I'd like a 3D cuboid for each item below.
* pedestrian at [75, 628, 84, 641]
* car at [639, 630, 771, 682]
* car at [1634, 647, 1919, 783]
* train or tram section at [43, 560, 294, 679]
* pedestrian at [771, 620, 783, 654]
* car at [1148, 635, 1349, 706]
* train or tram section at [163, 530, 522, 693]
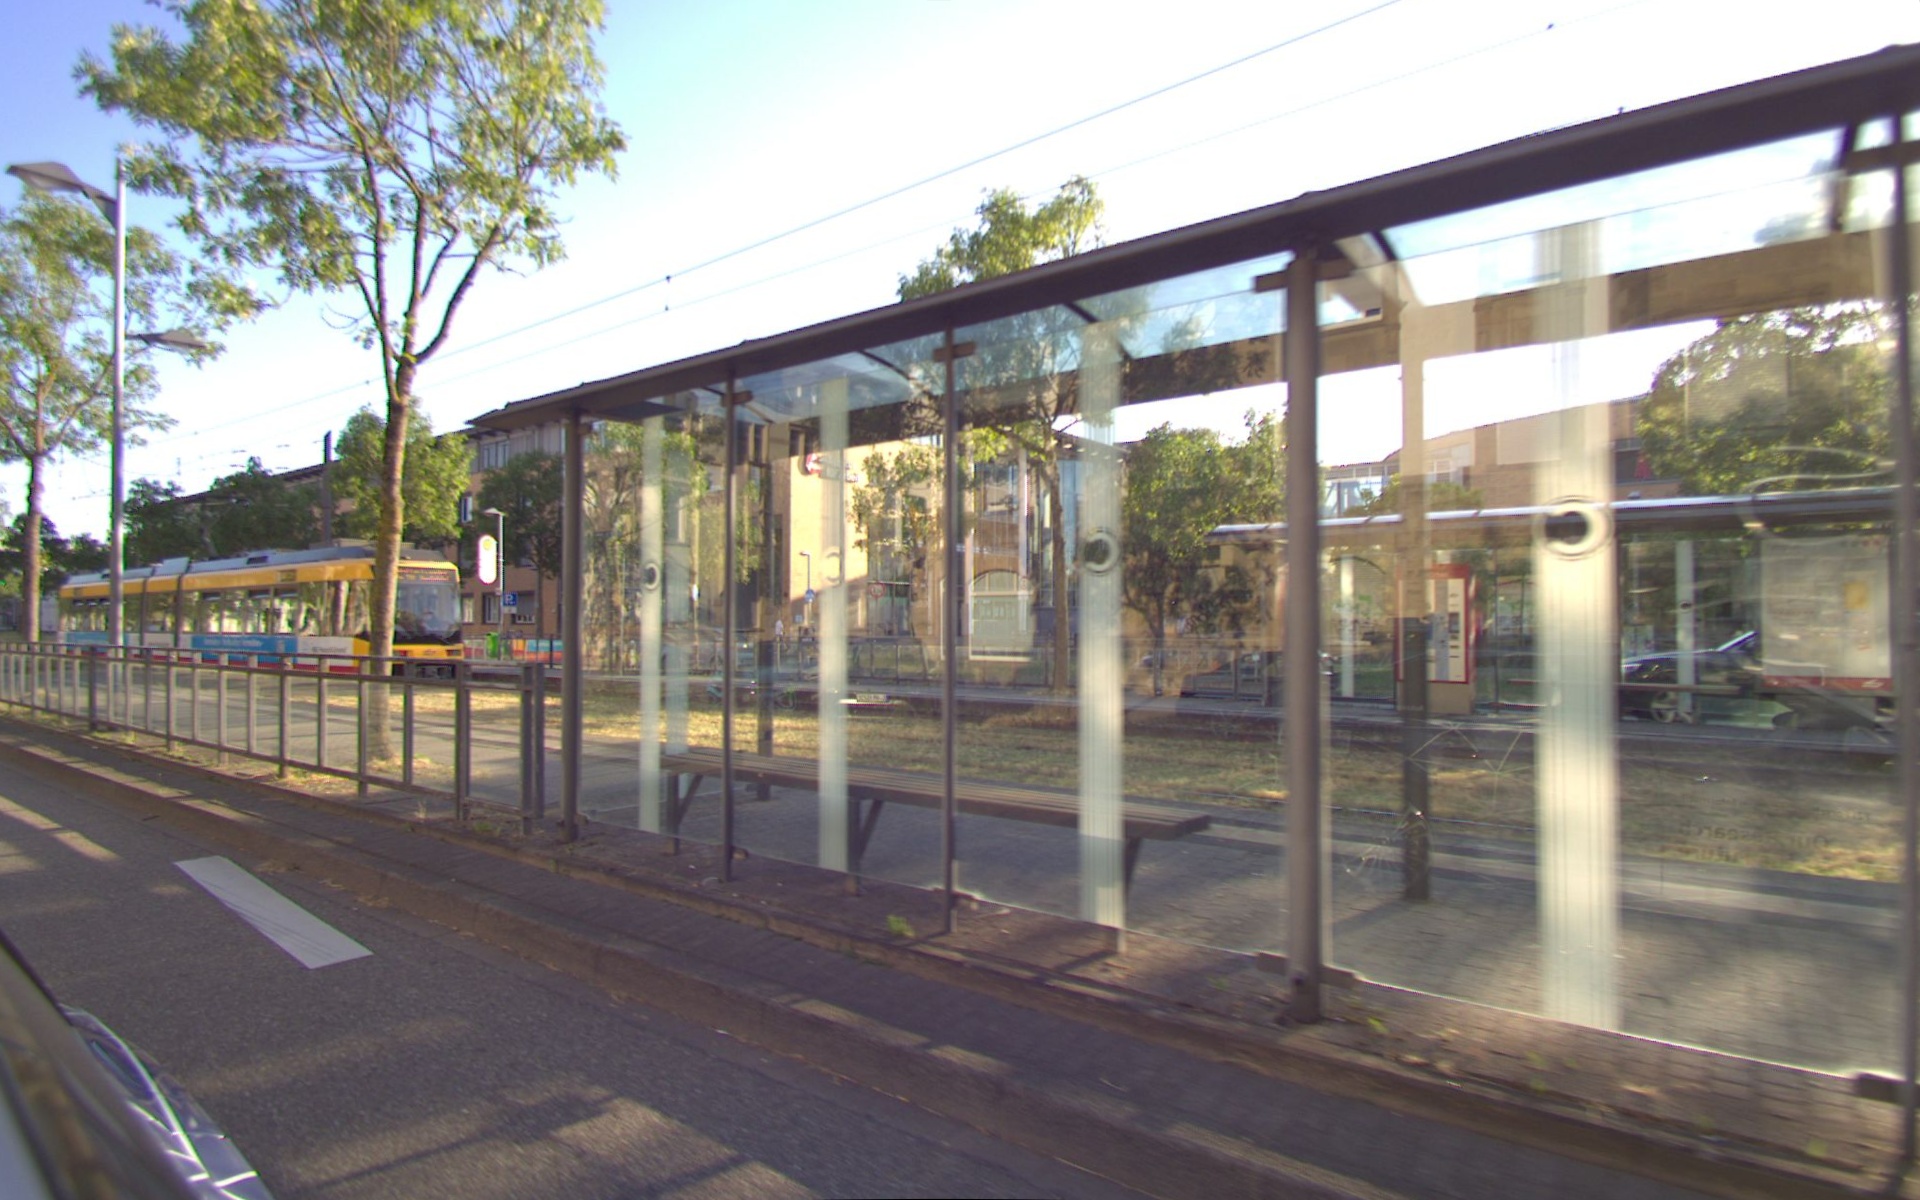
[{"bbox_3d":[-89.492,3.513,102.861,0.573,1.378,0.581,-1,-1,31],"label":"pedestrian"},{"bbox_3d":[-8.020,1.711,31.677,3.989,1.519,1.846,-1,-2,34],"label":"car"},{"bbox_3d":[11.308,1.404,12.922,4.355,1.519,1.844,-1,-2,38],"label":"car"},{"bbox_3d":[-28.103,0.704,35.425,15.005,3.456,3.398,-1,-2,38],"label":"train or tram section"},{"bbox_3d":[-8.356,1.681,46.261,0.538,1.517,0.532,0,-1,-10],"label":"pedestrian"},{"bbox_3d":[5.864,1.385,20.741,3.682,1.308,1.526,-1,-2,36],"label":"car"},{"bbox_3d":[-16.749,0.364,26.613,13.837,3.365,3.398,-1,-2,38],"label":"train or tram section"}]
